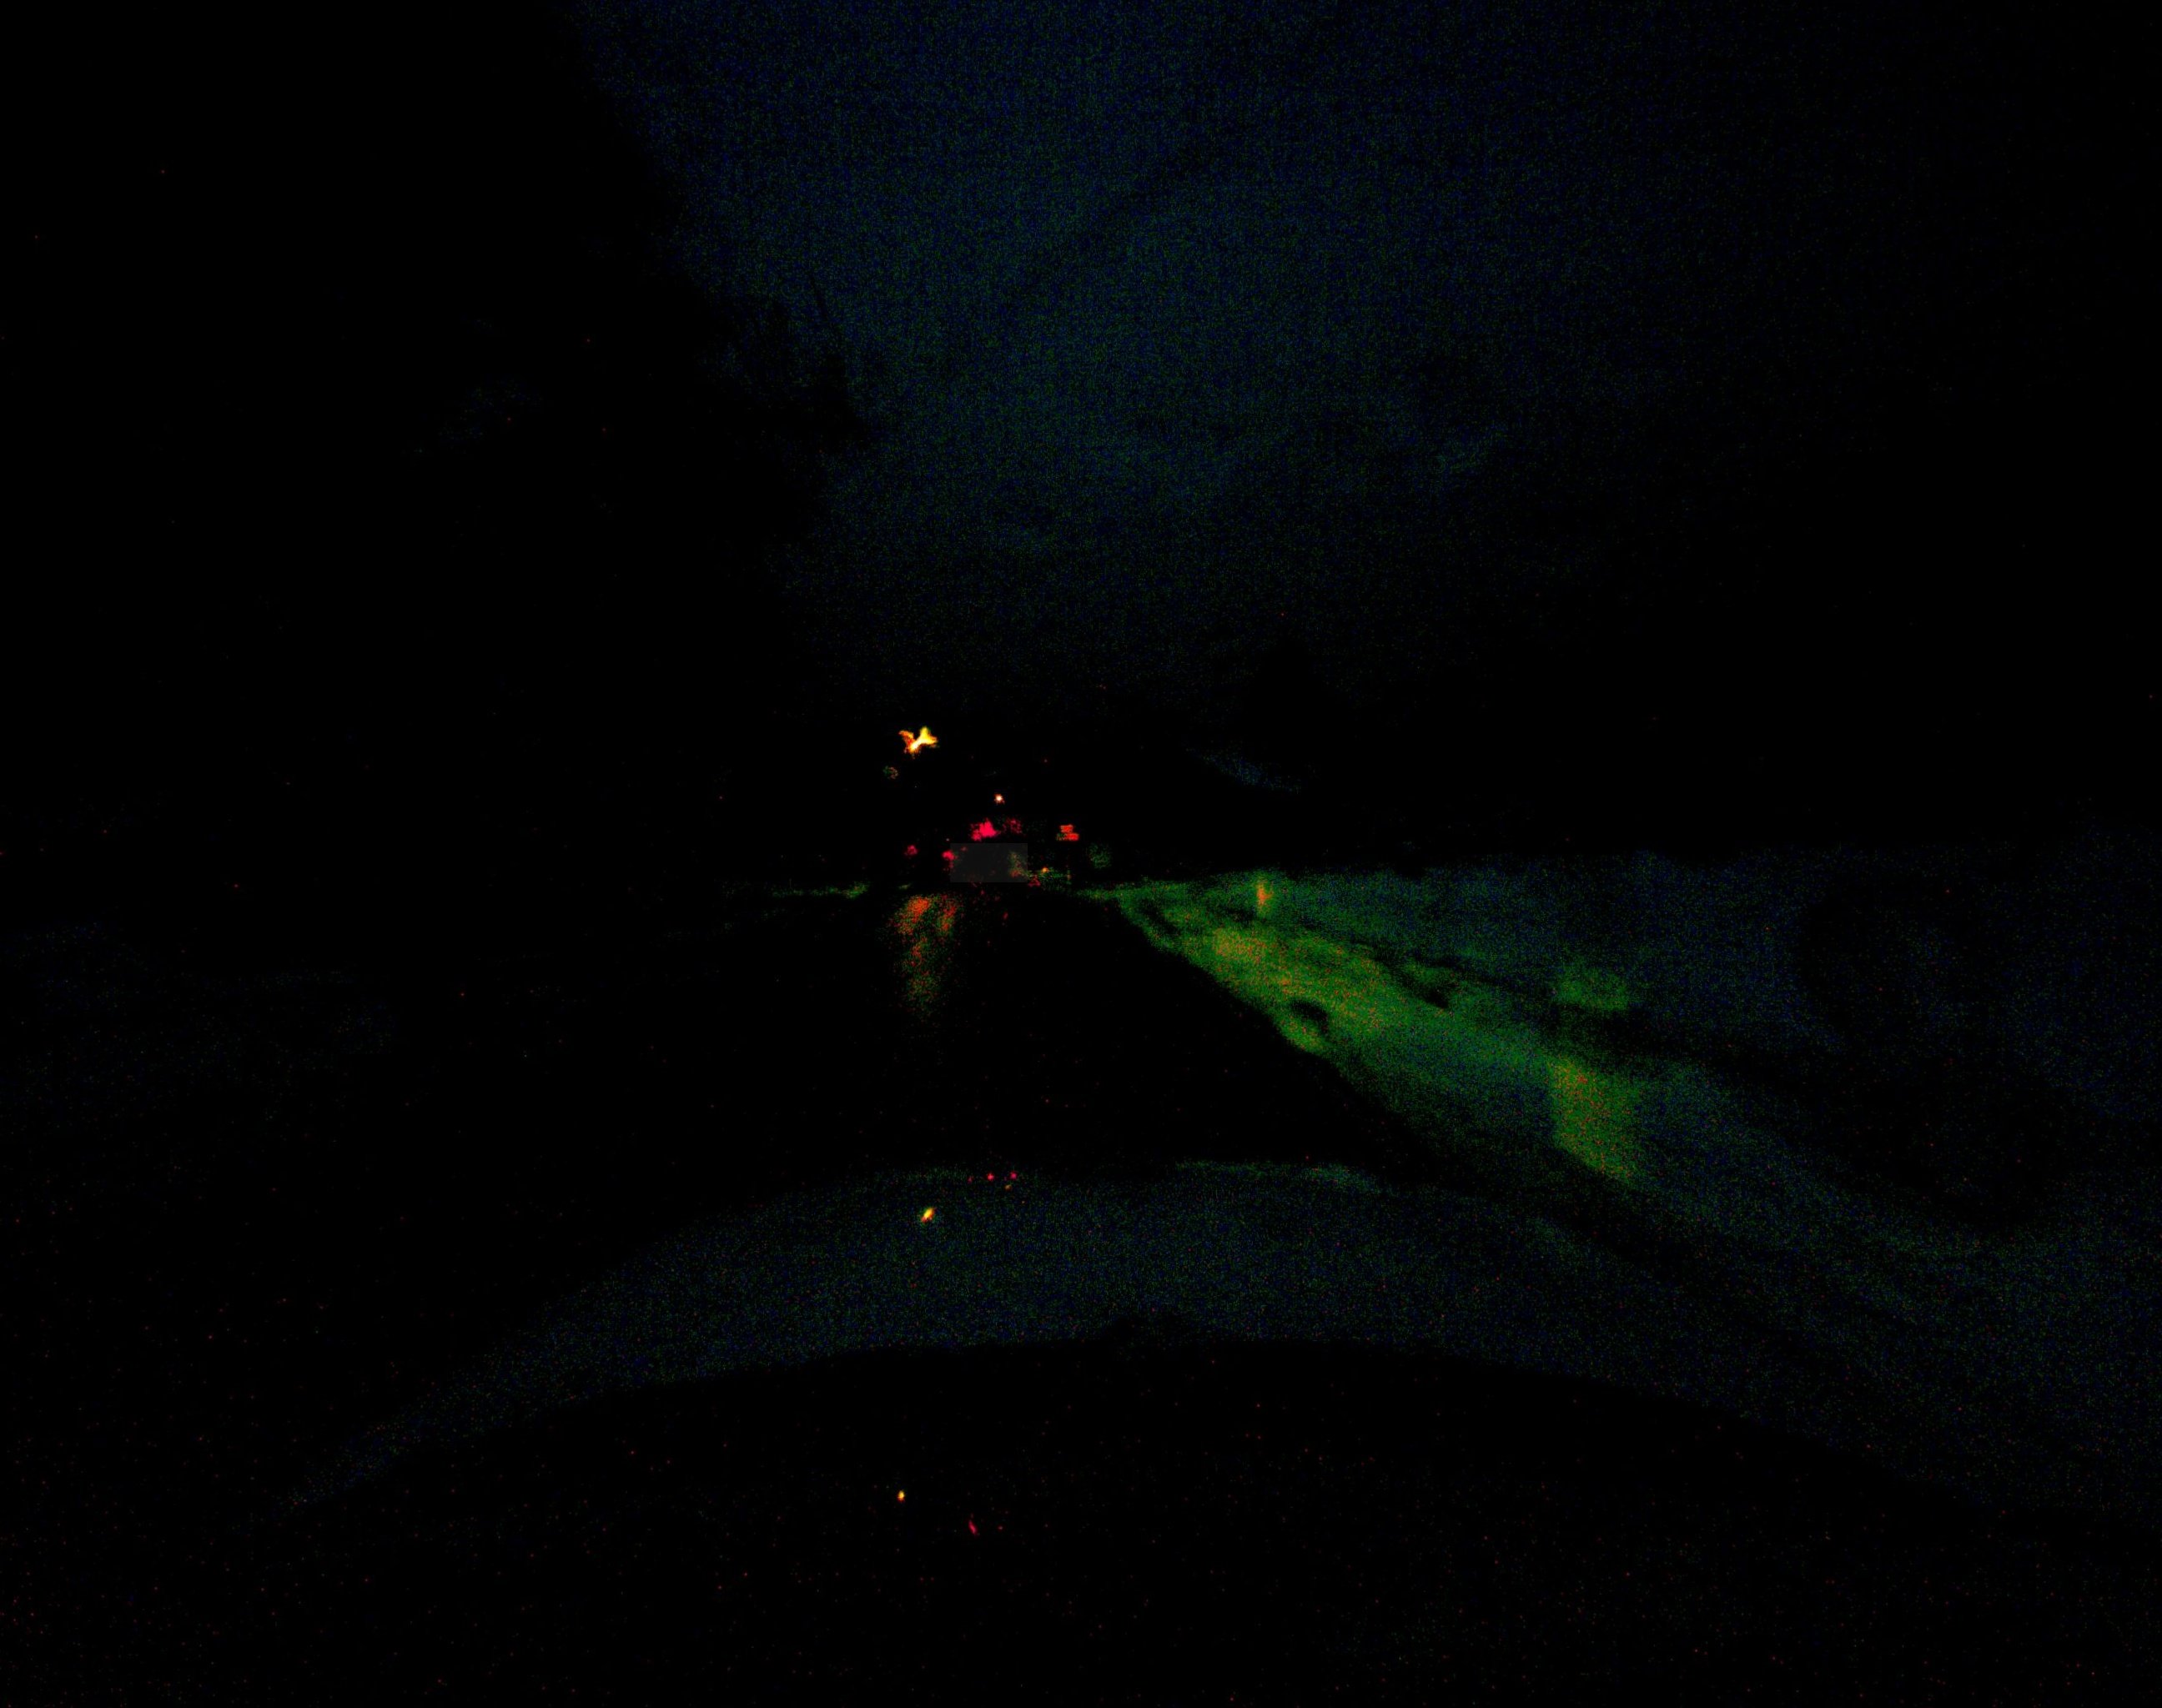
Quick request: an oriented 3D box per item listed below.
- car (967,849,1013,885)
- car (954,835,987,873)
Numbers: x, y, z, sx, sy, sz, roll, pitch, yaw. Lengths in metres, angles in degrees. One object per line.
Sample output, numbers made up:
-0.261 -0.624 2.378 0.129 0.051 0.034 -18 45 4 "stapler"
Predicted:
-5.016 0.659 44.416 2.273 1.840 4.992 -1 0 -9 "car"
-9.263 0.059 68.771 2.432 3.019 5.314 -1 -1 -5 "car"
